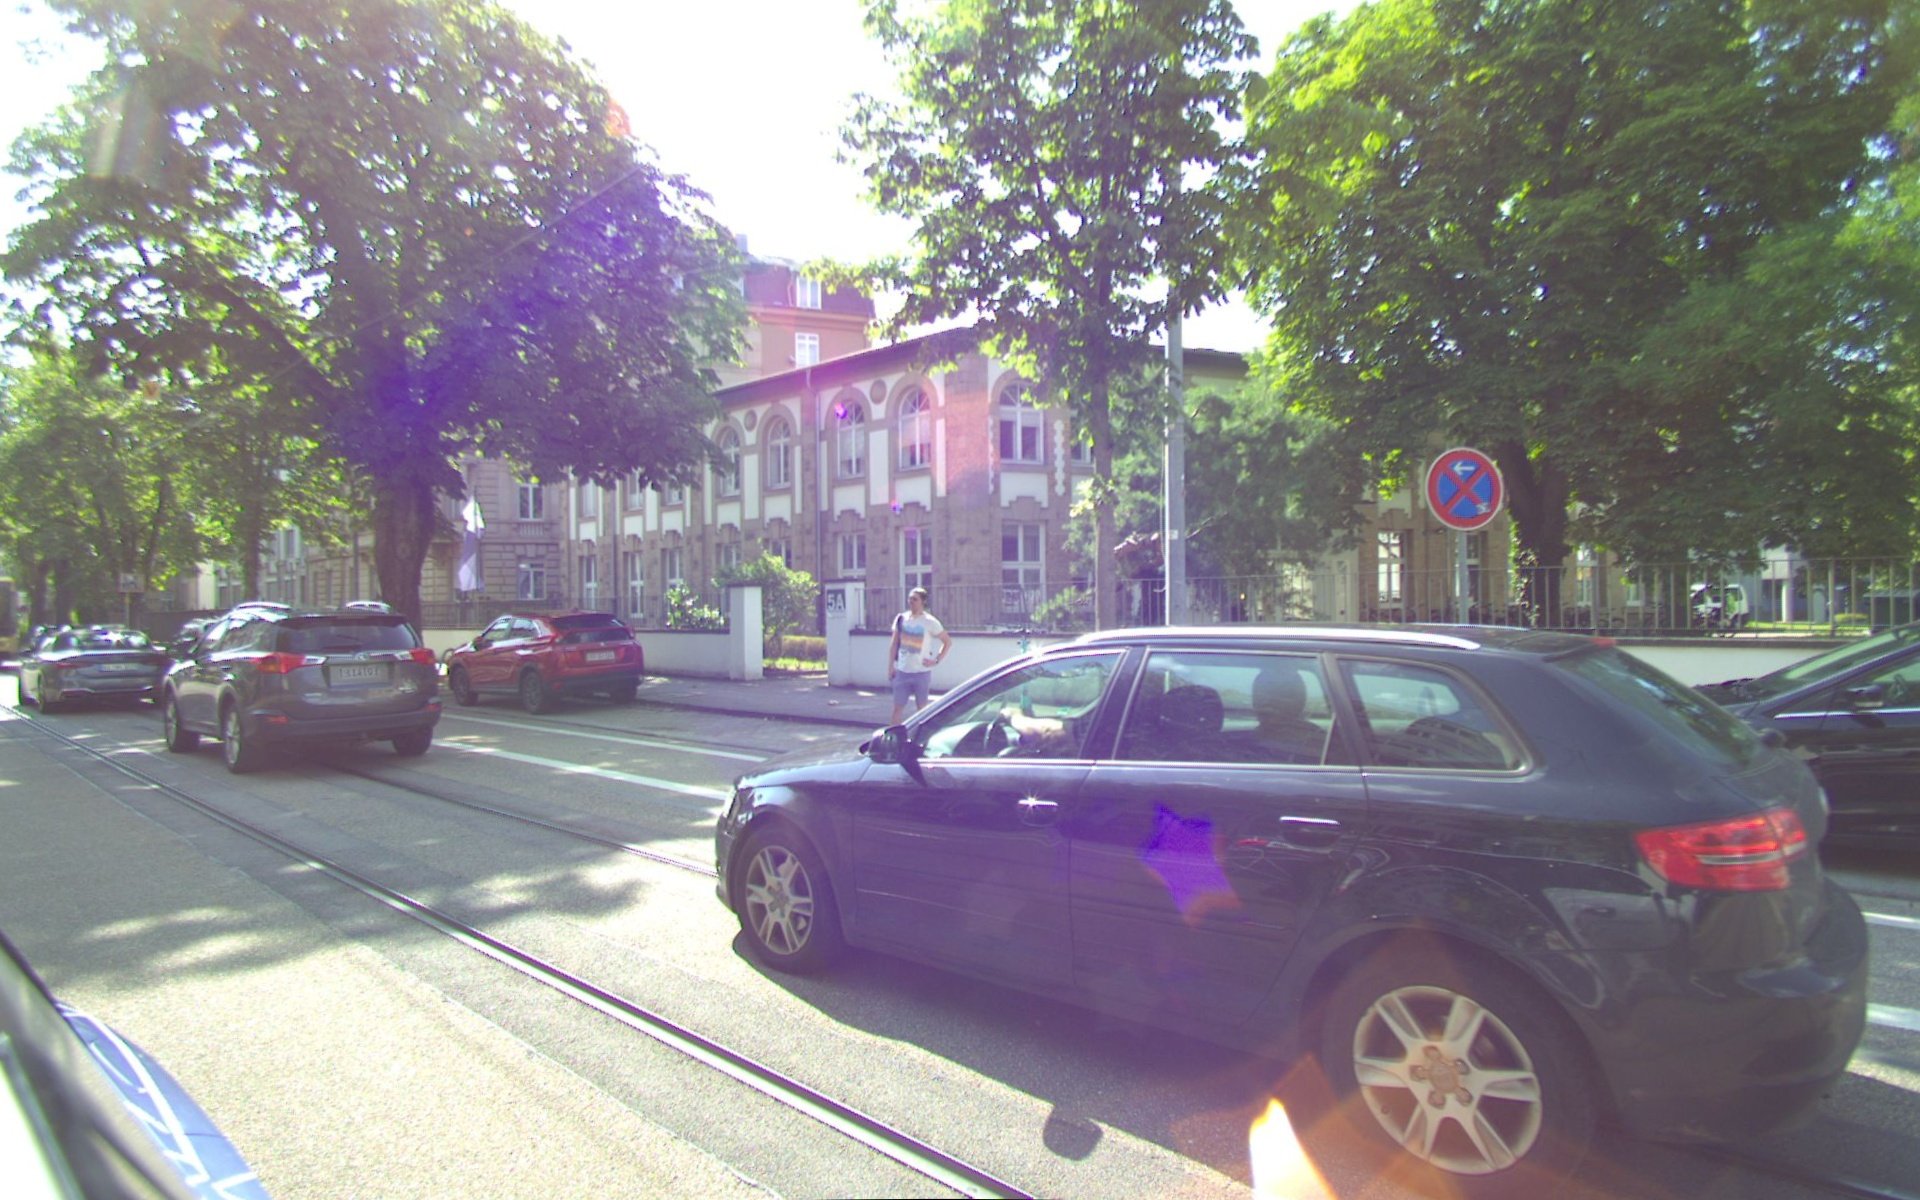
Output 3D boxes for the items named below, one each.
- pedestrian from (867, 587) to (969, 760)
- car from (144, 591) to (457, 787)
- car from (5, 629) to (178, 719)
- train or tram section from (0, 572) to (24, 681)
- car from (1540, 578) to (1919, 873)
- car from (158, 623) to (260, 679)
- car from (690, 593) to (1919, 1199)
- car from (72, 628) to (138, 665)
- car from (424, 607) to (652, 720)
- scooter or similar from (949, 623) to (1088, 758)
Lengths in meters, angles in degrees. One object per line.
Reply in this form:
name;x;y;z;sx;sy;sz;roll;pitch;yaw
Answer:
pedestrian;-0.449;0.760;10.963;0.750;1.780;0.782;-1;0;32
car;-7.426;0.831;11.203;4.390;1.740;1.806;-1;0;42
car;-15.713;1.239;18.231;4.424;1.399;1.780;-2;-2;41
train or tram section;-35.491;0.896;35.396;14.104;3.381;2.624;-1;-3;42
car;5.999;0.641;5.643;4.587;1.527;1.732;-1;1;39
car;-24.748;1.623;33.293;4.329;1.653;1.788;-1;1;41
car;0.889;0.738;3.789;3.997;1.386;1.705;-1;-3;41
car;-38.491;2.068;45.542;3.806;1.496;1.637;-1;1;41
car;-7.497;1.012;17.752;4.718;1.678;1.732;-1;1;41
scooter or similar;0.646;0.925;10.940;0.854;1.289;1.325;-1;1;40
